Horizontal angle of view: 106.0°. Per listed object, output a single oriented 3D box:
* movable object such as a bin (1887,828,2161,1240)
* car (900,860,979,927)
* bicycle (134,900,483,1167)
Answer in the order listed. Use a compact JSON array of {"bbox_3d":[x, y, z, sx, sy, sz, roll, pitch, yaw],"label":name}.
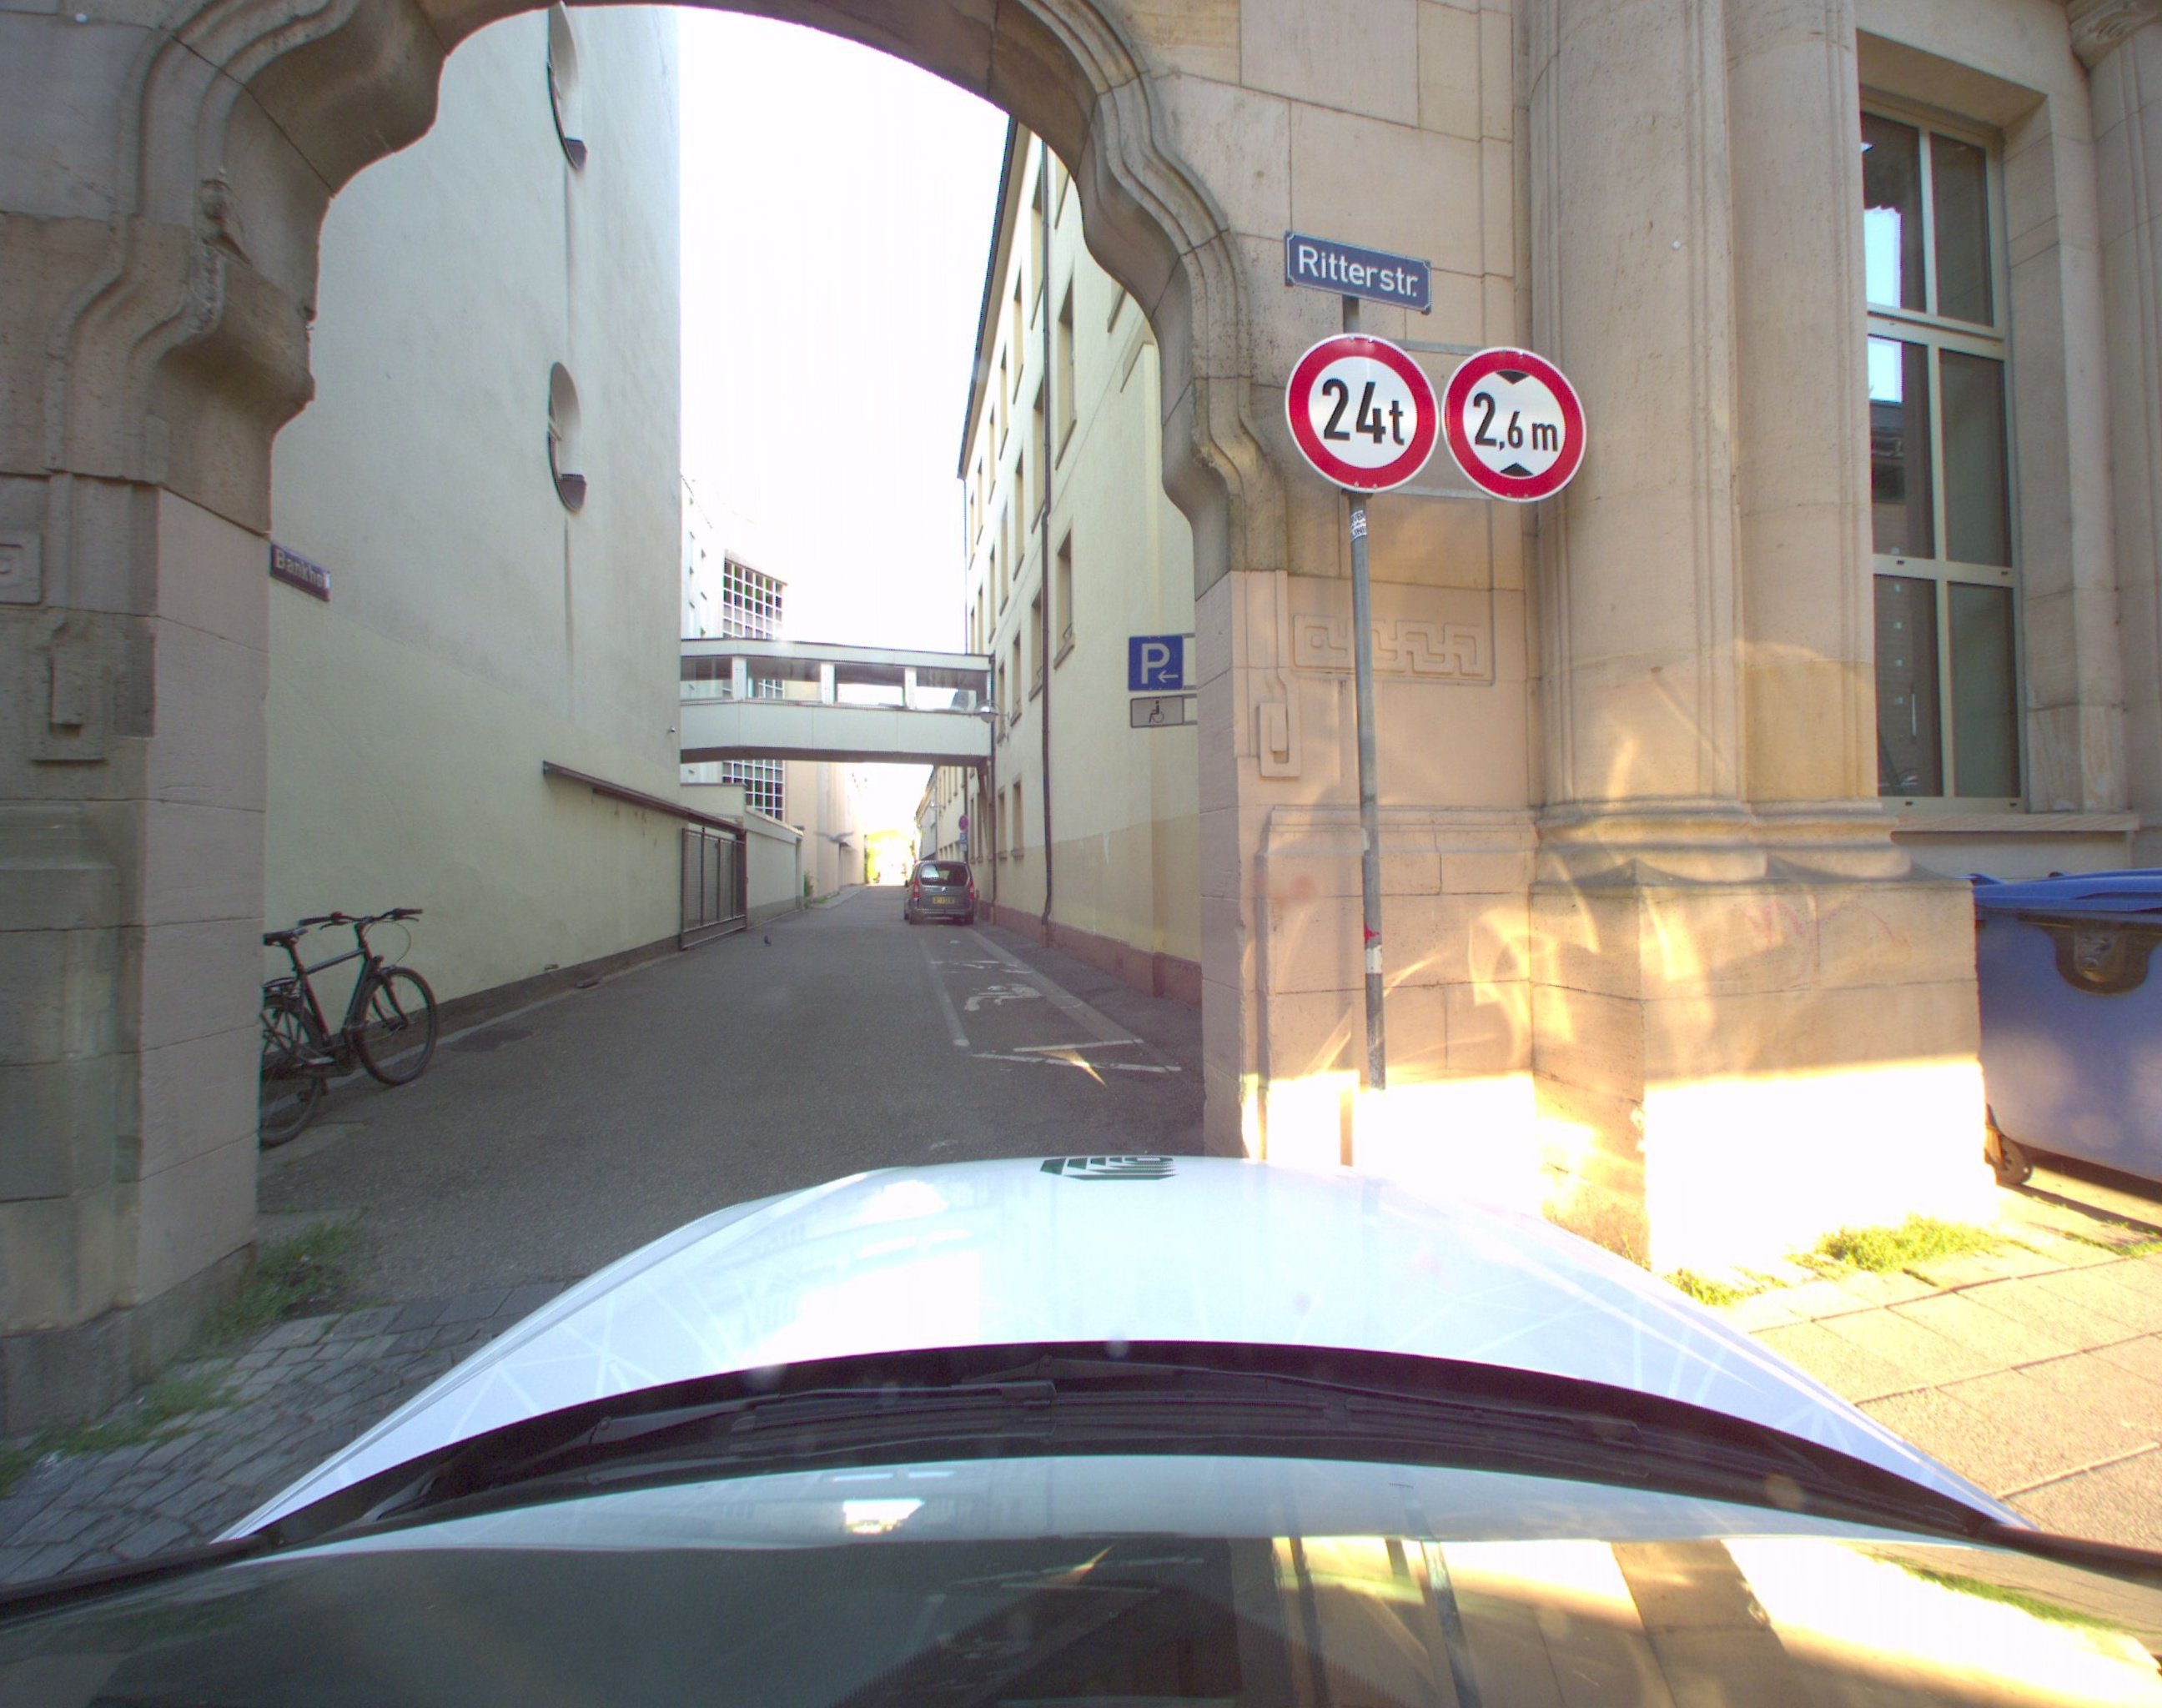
[{"bbox_3d":[4.395,0.631,3.329,1.183,1.474,1.074,-1,1,-9],"label":"movable object such as a bin"},{"bbox_3d":[-4.283,1.120,24.204,1.859,1.756,4.139,3,-2,-16],"label":"car"},{"bbox_3d":[-4.102,0.845,4.532,0.595,1.079,1.748,0,0,-13],"label":"bicycle"}]
